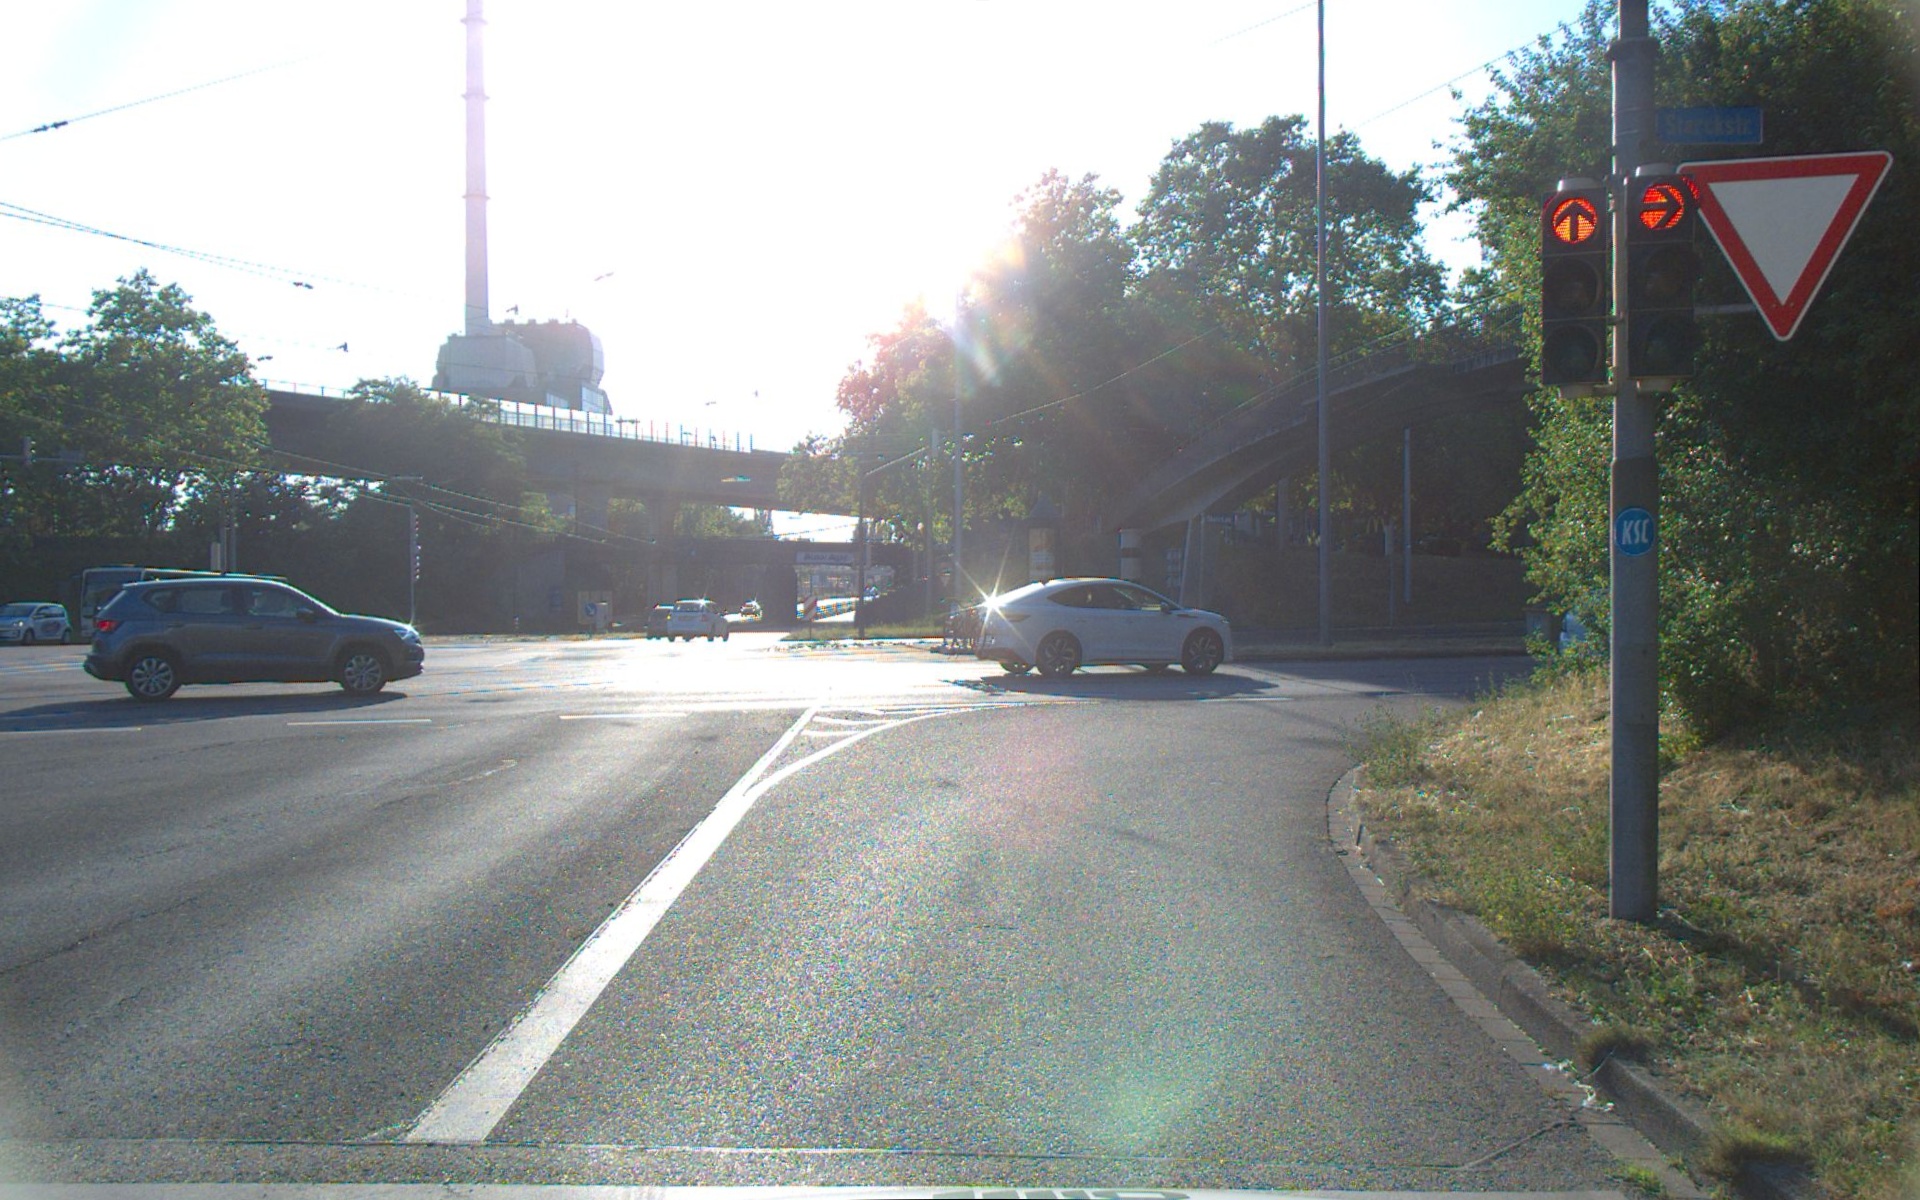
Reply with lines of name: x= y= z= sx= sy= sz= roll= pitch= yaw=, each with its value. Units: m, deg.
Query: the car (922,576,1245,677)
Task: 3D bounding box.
car: x=2.121 y=0.425 z=28.076 sx=5.274 sy=1.602 sz=1.729 roll=0 pitch=0 yaw=-22

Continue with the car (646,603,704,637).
car: x=-12.718 y=0.873 z=73.971 sx=1.630 sy=1.429 sz=4.446 roll=1 pitch=0 yaw=2

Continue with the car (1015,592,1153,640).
car: x=4.285 y=0.551 z=57.221 sx=4.505 sy=1.602 sz=1.685 roll=1 pitch=0 yaw=-18

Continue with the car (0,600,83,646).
car: x=-32.161 y=0.769 z=57.247 sx=1.574 sy=1.538 sz=4.006 roll=1 pitch=0 yaw=-3

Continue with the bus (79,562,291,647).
bus: x=-32.091 y=0.314 z=69.408 sx=2.491 sy=3.185 sz=12.919 roll=-1 pitch=-1 yaw=2

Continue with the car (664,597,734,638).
car: x=-9.547 y=0.613 z=60.865 sx=1.630 sy=1.429 sz=4.199 roll=1 pitch=0 yaw=4

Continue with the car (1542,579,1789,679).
car: x=11.927 y=0.470 z=27.960 sx=3.936 sy=1.602 sz=1.680 roll=0 pitch=0 yaw=-25

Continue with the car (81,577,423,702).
car: x=-9.648 y=0.512 z=22.789 sx=4.177 sy=1.602 sz=1.682 roll=0 pitch=0 yaw=-23

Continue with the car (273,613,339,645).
car: x=-31.702 y=1.376 z=80.251 sx=1.573 sy=1.444 sz=4.008 roll=1 pitch=0 yaw=1
